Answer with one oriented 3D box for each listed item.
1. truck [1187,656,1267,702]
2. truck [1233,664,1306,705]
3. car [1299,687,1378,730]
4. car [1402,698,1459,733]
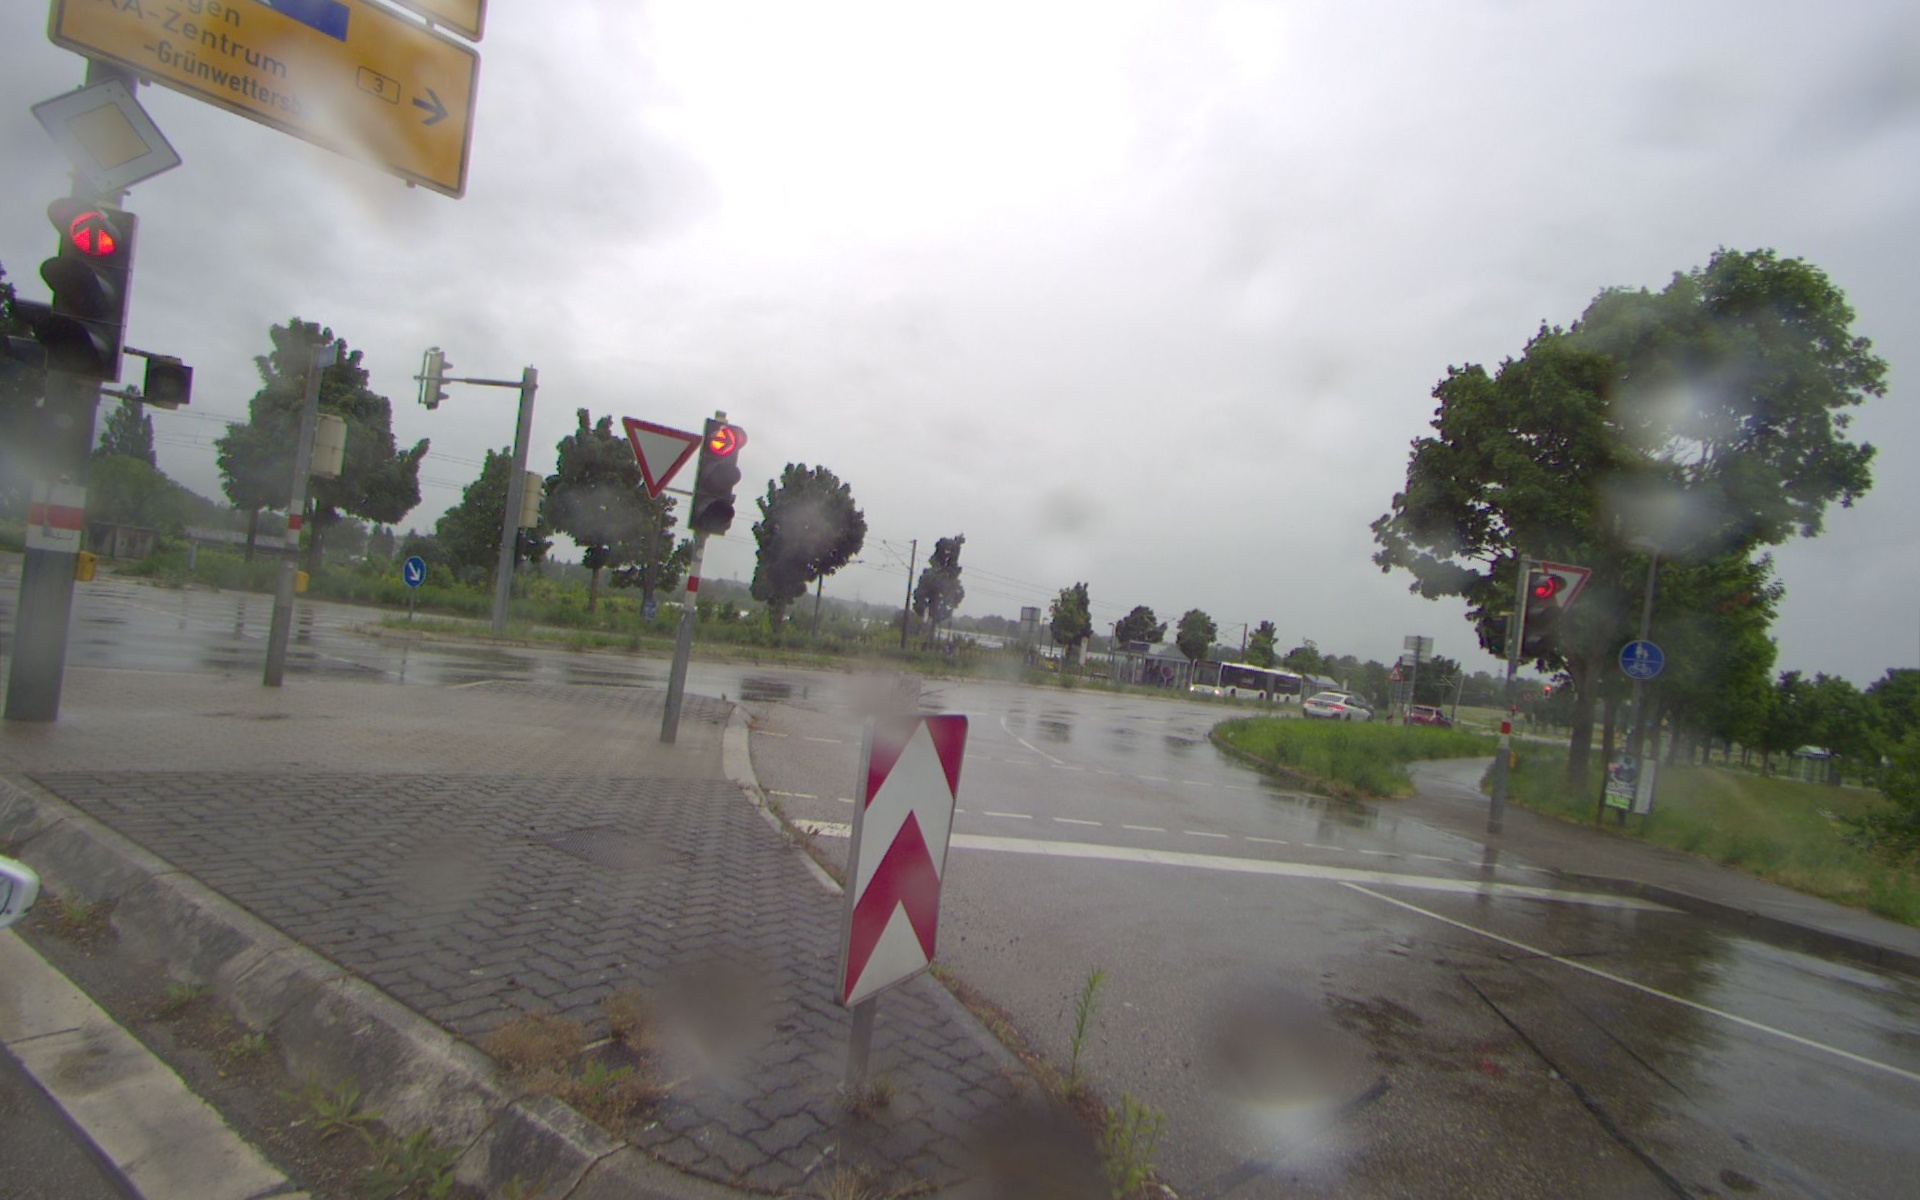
[{"bbox_3d":[21.459,6.404,80.533,2.617,2.864,8.820,7,-2,39],"label":"truck"},{"bbox_3d":[27.081,7.413,87.623,2.617,2.804,9.323,7,-2,39],"label":"truck"},{"bbox_3d":[16.822,4.827,44.578,1.773,1.572,4.881,7,-1,38],"label":"car"},{"bbox_3d":[26.140,6.410,55.800,1.707,1.598,4.374,7,-2,40],"label":"car"}]
